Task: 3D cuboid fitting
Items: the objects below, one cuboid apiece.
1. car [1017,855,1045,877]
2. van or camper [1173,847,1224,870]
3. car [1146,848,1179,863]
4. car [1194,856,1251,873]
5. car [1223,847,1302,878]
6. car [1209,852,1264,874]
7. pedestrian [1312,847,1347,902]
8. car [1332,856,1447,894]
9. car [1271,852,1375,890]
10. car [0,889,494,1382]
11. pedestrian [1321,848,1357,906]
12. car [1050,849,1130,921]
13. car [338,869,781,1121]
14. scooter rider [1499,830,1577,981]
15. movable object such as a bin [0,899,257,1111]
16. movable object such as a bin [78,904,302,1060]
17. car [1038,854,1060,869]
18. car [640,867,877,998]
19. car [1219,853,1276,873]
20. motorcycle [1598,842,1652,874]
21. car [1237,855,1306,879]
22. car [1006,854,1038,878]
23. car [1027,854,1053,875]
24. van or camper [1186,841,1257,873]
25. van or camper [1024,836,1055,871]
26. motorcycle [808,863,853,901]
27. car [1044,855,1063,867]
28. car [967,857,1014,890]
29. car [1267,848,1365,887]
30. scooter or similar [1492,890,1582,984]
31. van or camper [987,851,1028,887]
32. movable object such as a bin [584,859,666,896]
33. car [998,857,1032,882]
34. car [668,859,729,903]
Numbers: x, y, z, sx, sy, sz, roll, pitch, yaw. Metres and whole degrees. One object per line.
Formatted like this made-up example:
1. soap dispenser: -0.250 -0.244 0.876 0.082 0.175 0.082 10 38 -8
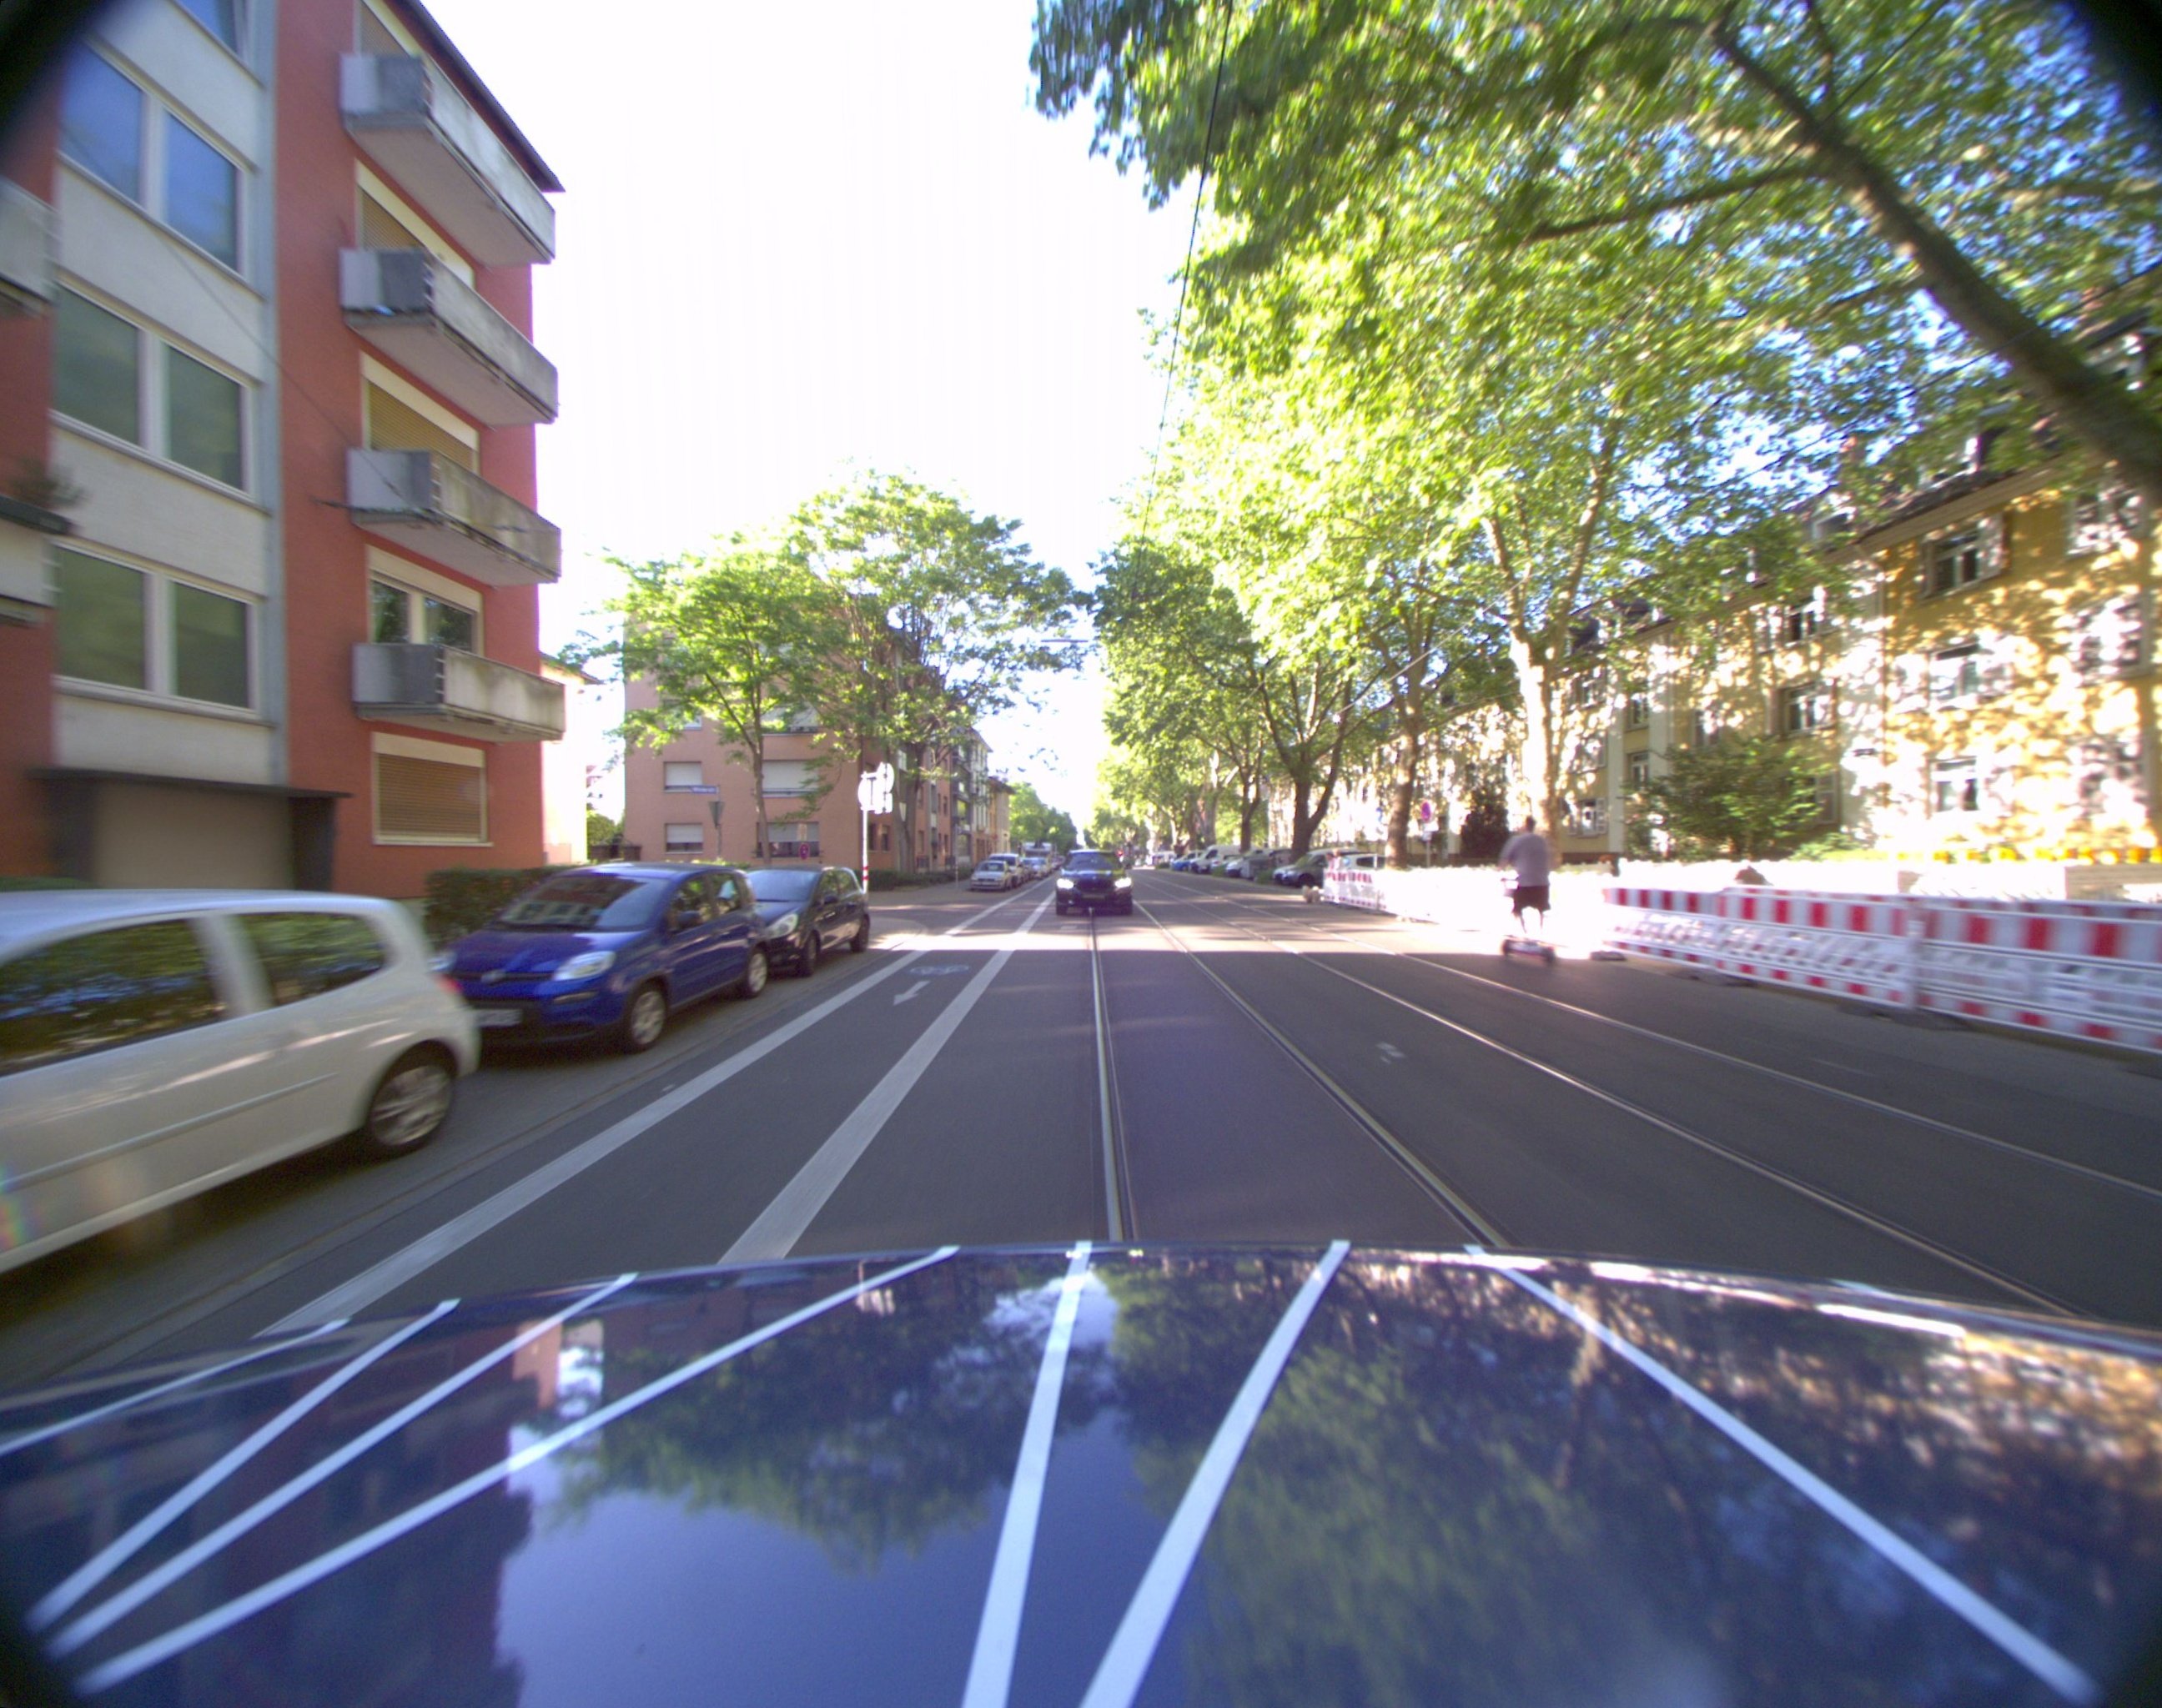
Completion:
1. car: -3.710 0.879 56.963 1.793 1.513 4.321 1 0 -1
2. van or camper: 11.722 0.432 76.021 4.832 2.177 2.119 -1 0 0
3. car: 13.116 0.236 121.765 5.019 2.383 2.028 -1 0 -1
4. car: 11.272 0.841 60.849 4.274 1.390 1.753 0 0 1
5. car: 11.920 0.537 49.971 4.669 1.934 1.961 -1 0 -2
6. car: 11.923 0.701 58.548 3.857 1.653 1.862 0 0 1
7. pedestrian: 8.013 0.640 24.523 0.824 1.735 0.796 -1 1 1
8. car: 12.275 0.816 30.410 3.857 1.489 1.862 0 0 1
9. car: 10.943 0.750 34.590 4.242 1.678 1.934 0 0 8
10. car: -4.450 1.013 2.757 1.595 1.518 3.835 2 1 1
11. pedestrian: 8.040 0.704 23.679 0.824 1.735 0.796 -1 1 1
12. car: 0.239 0.767 21.126 1.924 1.741 4.806 -1 0 0
13. car: -4.307 1.001 7.084 1.530 1.581 3.751 -2 1 -1
14. scooter rider: 6.083 0.665 10.137 0.651 1.946 0.624 -1 1 1
15. movable object such as a bin: -7.775 1.076 5.826 0.969 1.319 1.721 -1 1 1
16. movable object such as a bin: -8.374 1.173 7.189 1.155 1.319 0.775 -1 1 1
17. car: -3.422 0.822 82.455 1.998 1.485 4.740 1 0 1
18. car: -4.394 0.973 11.060 1.738 1.453 3.916 1 0 0
19. car: 12.318 0.637 56.305 3.857 1.489 1.862 0 0 1
20. motorcycle: 21.217 0.154 29.644 1.714 1.234 0.523 0 0 2
21. car: 11.799 0.776 47.247 3.857 1.489 1.862 0 0 1
22. car: -3.994 0.775 52.041 1.772 1.563 4.337 1 0 0
23. car: -3.362 0.830 62.773 1.797 1.618 4.276 1 0 0
24. van or camper: 11.639 0.266 63.347 5.403 2.501 2.445 -1 0 0
25. van or camper: -3.719 -0.029 69.460 2.468 3.046 6.267 1 0 -1
26. motorcycle: -9.217 1.004 28.062 0.679 1.290 2.258 0 1 7
27. car: -3.313 0.871 91.490 1.998 1.372 4.739 1 0 0
28. car: -4.201 0.896 35.880 1.710 1.464 4.000 0 0 0
29. car: 11.341 0.640 36.842 4.210 1.747 1.739 -1 0 -2
30. scooter or similar: 6.034 1.065 10.126 0.408 1.077 1.338 -1 1 1
31. van or camper: -3.938 0.776 41.325 1.759 1.853 4.830 0 0 0
32. movable object such as a bin: -19.051 0.961 31.788 2.547 1.411 1.377 0 2 -2
33. car: -4.049 0.940 47.178 1.710 1.464 4.168 0 0 0
34. car: -14.640 0.975 28.965 1.730 1.531 3.990 -1 0 -32
